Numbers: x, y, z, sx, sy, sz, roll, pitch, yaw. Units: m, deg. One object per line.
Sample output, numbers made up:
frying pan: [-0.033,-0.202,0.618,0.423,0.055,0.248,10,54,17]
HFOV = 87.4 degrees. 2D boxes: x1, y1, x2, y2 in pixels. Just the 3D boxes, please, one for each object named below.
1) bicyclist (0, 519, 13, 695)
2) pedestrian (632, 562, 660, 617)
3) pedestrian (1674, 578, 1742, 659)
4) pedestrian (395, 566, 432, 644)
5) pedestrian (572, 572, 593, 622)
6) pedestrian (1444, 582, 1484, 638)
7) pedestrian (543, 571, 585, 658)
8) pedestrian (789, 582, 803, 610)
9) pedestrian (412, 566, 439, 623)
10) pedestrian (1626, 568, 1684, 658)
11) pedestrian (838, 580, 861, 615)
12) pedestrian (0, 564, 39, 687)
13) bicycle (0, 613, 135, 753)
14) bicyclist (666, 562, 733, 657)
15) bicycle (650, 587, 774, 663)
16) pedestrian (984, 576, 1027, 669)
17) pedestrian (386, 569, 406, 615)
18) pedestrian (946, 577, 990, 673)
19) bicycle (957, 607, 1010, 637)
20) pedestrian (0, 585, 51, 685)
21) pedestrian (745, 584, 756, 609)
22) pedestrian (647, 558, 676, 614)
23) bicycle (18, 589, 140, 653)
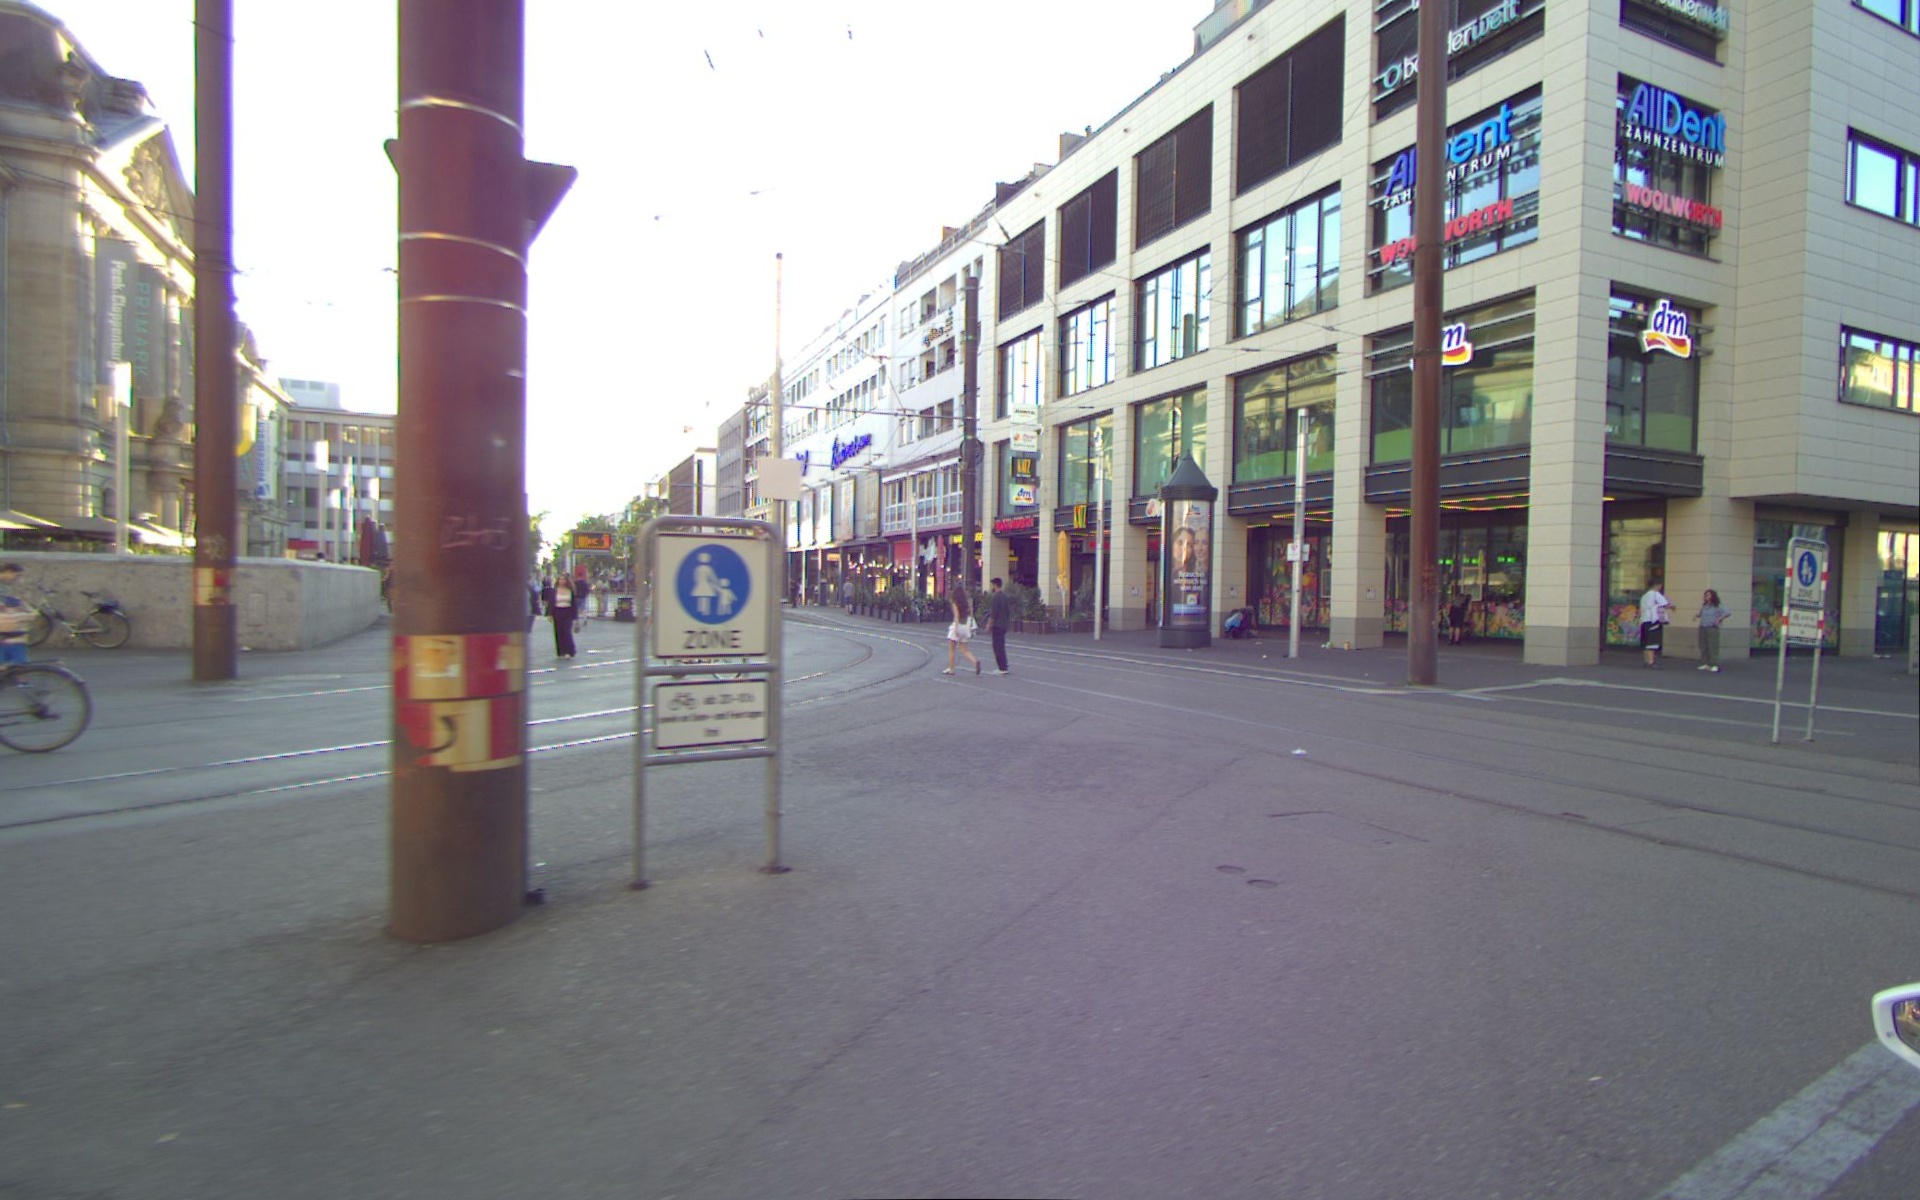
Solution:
bicyclist: [-8.204,0.050,8.233,0.557,1.446,0.418,0,2,-32]
pedestrian: [-9.659,-0.319,30.899,0.573,1.658,0.685,0,0,10]
pedestrian: [15.795,0.380,21.218,0.802,1.682,0.767,1,2,-11]
pedestrian: [-12.166,0.113,22.385,0.641,1.697,0.712,0,1,-24]
pedestrian: [-12.797,-0.097,34.023,0.641,1.697,0.527,0,1,-24]
pedestrian: [14.074,0.267,28.076,0.777,1.547,0.573,1,2,-13]
pedestrian: [-7.856,0.280,19.940,0.742,1.697,0.528,0,1,-18]
pedestrian: [-9.997,-0.238,61.231,0.675,1.658,0.582,0,0,-24]
pedestrian: [-16.103,-0.162,30.269,0.641,1.697,0.712,0,1,-24]
pedestrian: [14.731,0.267,21.287,0.802,1.880,0.573,1,2,-13]
pedestrian: [-5.360,-0.130,48.708,0.887,1.658,0.948,0,0,-22]
pedestrian: [-12.556,0.327,13.187,0.473,1.594,0.647,1,1,43]
bicycle: [-8.147,0.684,8.284,2.000,1.113,0.569,0,2,-32]
bicyclist: [-4.203,0.134,16.232,0.857,1.485,0.599,2,2,23]
bicycle: [-3.993,0.384,16.172,1.882,1.130,0.700,2,2,23]
pedestrian: [0.838,0.414,18.729,0.641,1.697,0.527,0,1,-24]
pedestrian: [-20.583,-0.288,36.654,0.341,1.658,0.509,0,0,28]
pedestrian: [0.137,0.442,18.184,0.641,1.697,0.527,0,1,-24]
bicycle: [0.861,0.803,36.867,1.887,0.999,0.451,1,2,11]
pedestrian: [-12.084,0.442,12.962,0.406,1.260,0.482,1,1,43]
pedestrian: [-14.490,-0.235,69.329,0.641,1.697,0.527,0,1,-24]
pedestrian: [-9.064,-0.421,30.507,0.573,1.658,0.685,0,0,10]
bicycle: [-15.719,0.372,17.954,1.558,1.100,0.448,0,2,-23]
